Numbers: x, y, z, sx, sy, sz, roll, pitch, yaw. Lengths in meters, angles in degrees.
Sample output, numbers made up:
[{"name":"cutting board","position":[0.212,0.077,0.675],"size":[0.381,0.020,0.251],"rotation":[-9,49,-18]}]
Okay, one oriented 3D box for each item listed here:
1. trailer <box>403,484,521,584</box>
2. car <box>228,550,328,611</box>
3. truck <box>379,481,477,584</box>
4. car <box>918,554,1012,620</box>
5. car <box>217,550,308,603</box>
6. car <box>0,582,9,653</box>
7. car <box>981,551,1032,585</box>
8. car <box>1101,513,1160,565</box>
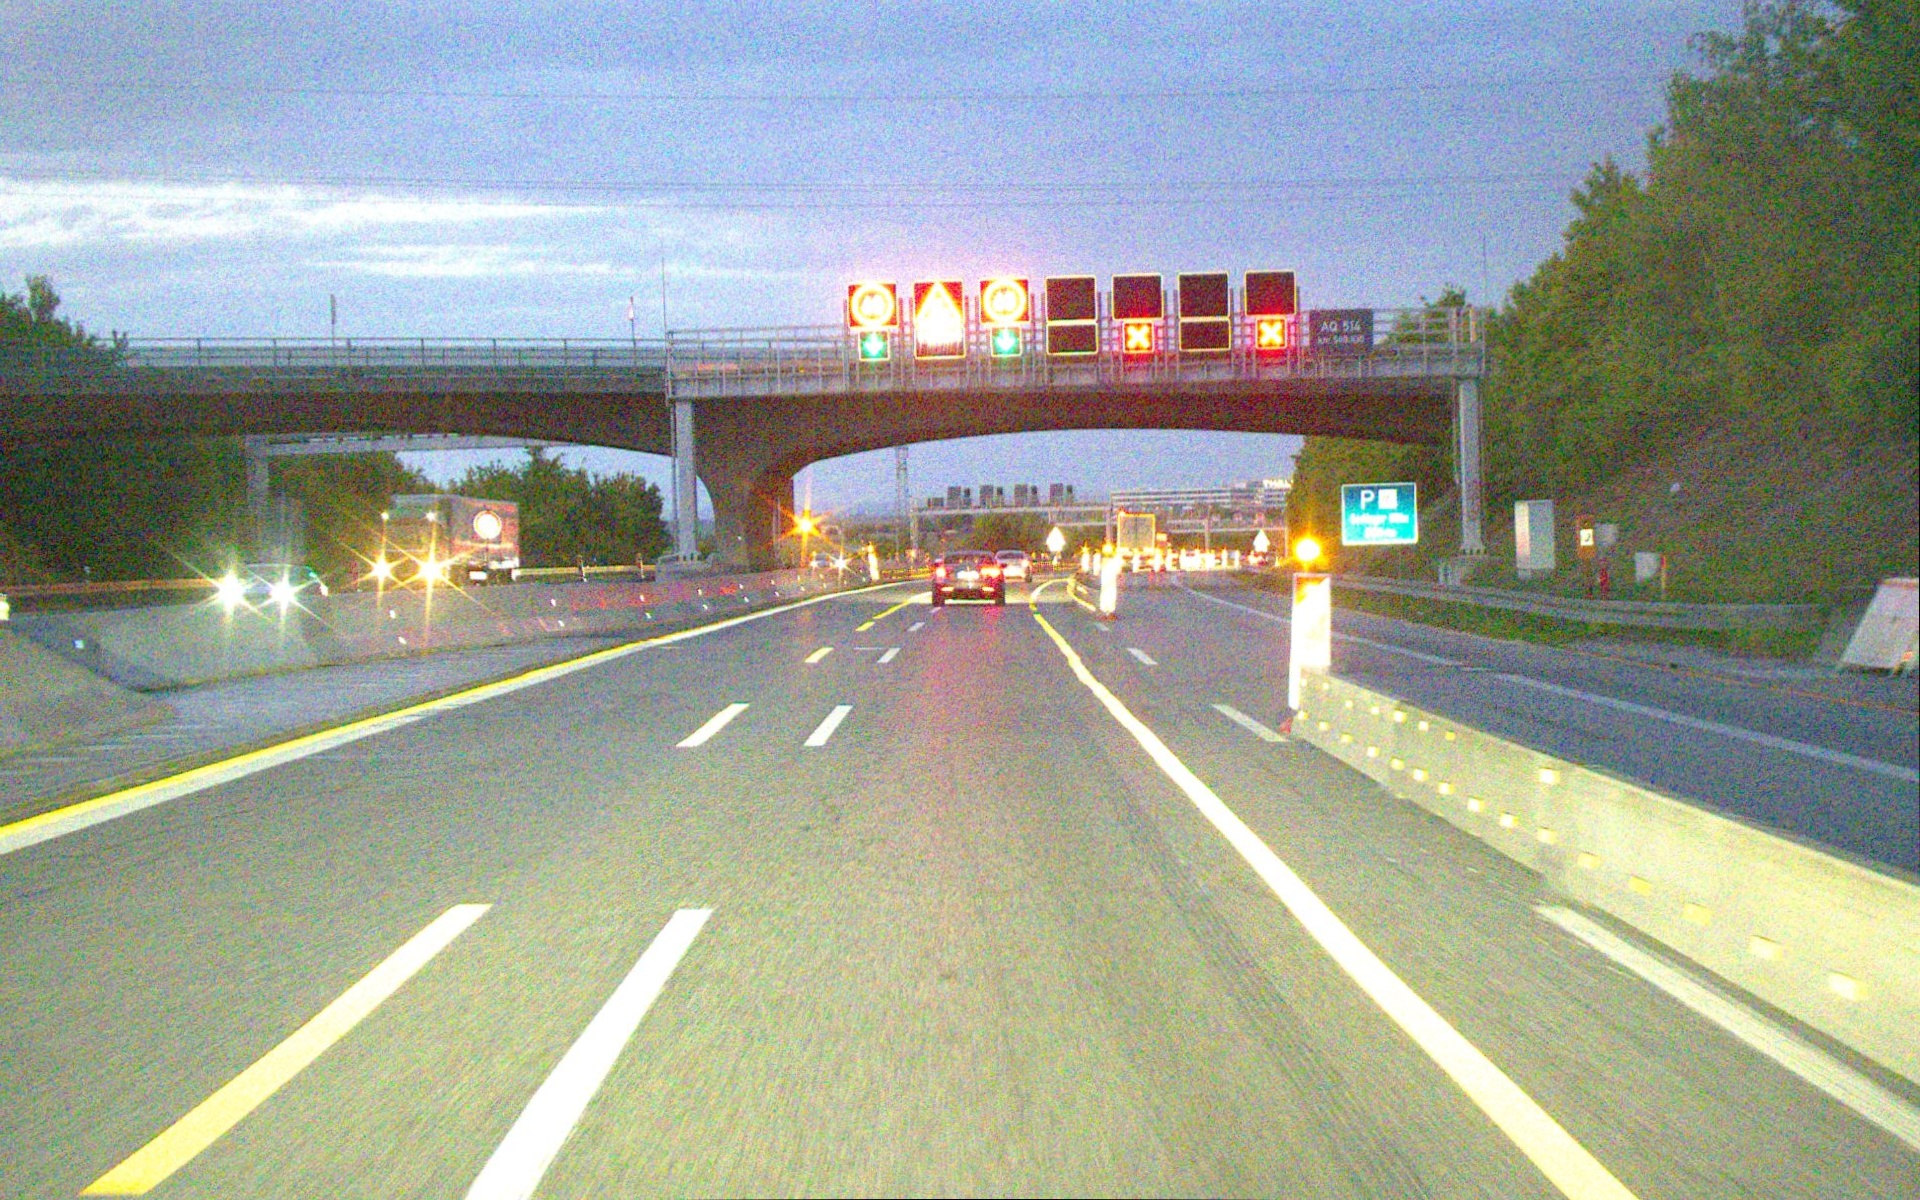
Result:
[{"name":"trailer","position":[-22.012,-2.875,152.776],"size":[2.779,4.191,12.401],"rotation":[1,1,3]},{"name":"car","position":[-19.224,-0.556,97.047],"size":[1.736,1.632,4.891],"rotation":[1,1,1]},{"name":"truck","position":[-22.378,-2.808,144.862],"size":[2.777,4.157,6.385],"rotation":[1,0,3]},{"name":"car","position":[0.098,-0.357,88.531],"size":[2.265,1.616,4.000],"rotation":[1,0,-2]},{"name":"car","position":[-21.822,-0.735,107.702],"size":[1.591,1.598,5.033],"rotation":[1,1,3]},{"name":"car","position":[-23.092,0.405,77.490],"size":[1.736,1.632,5.170],"rotation":[1,1,1]},{"name":"car","position":[2.021,-1.378,149.590],"size":[1.972,1.432,3.999],"rotation":[1,1,4]},{"name":"car","position":[11.706,-4.172,236.919],"size":[3.605,3.384,8.014],"rotation":[1,0,0]}]
